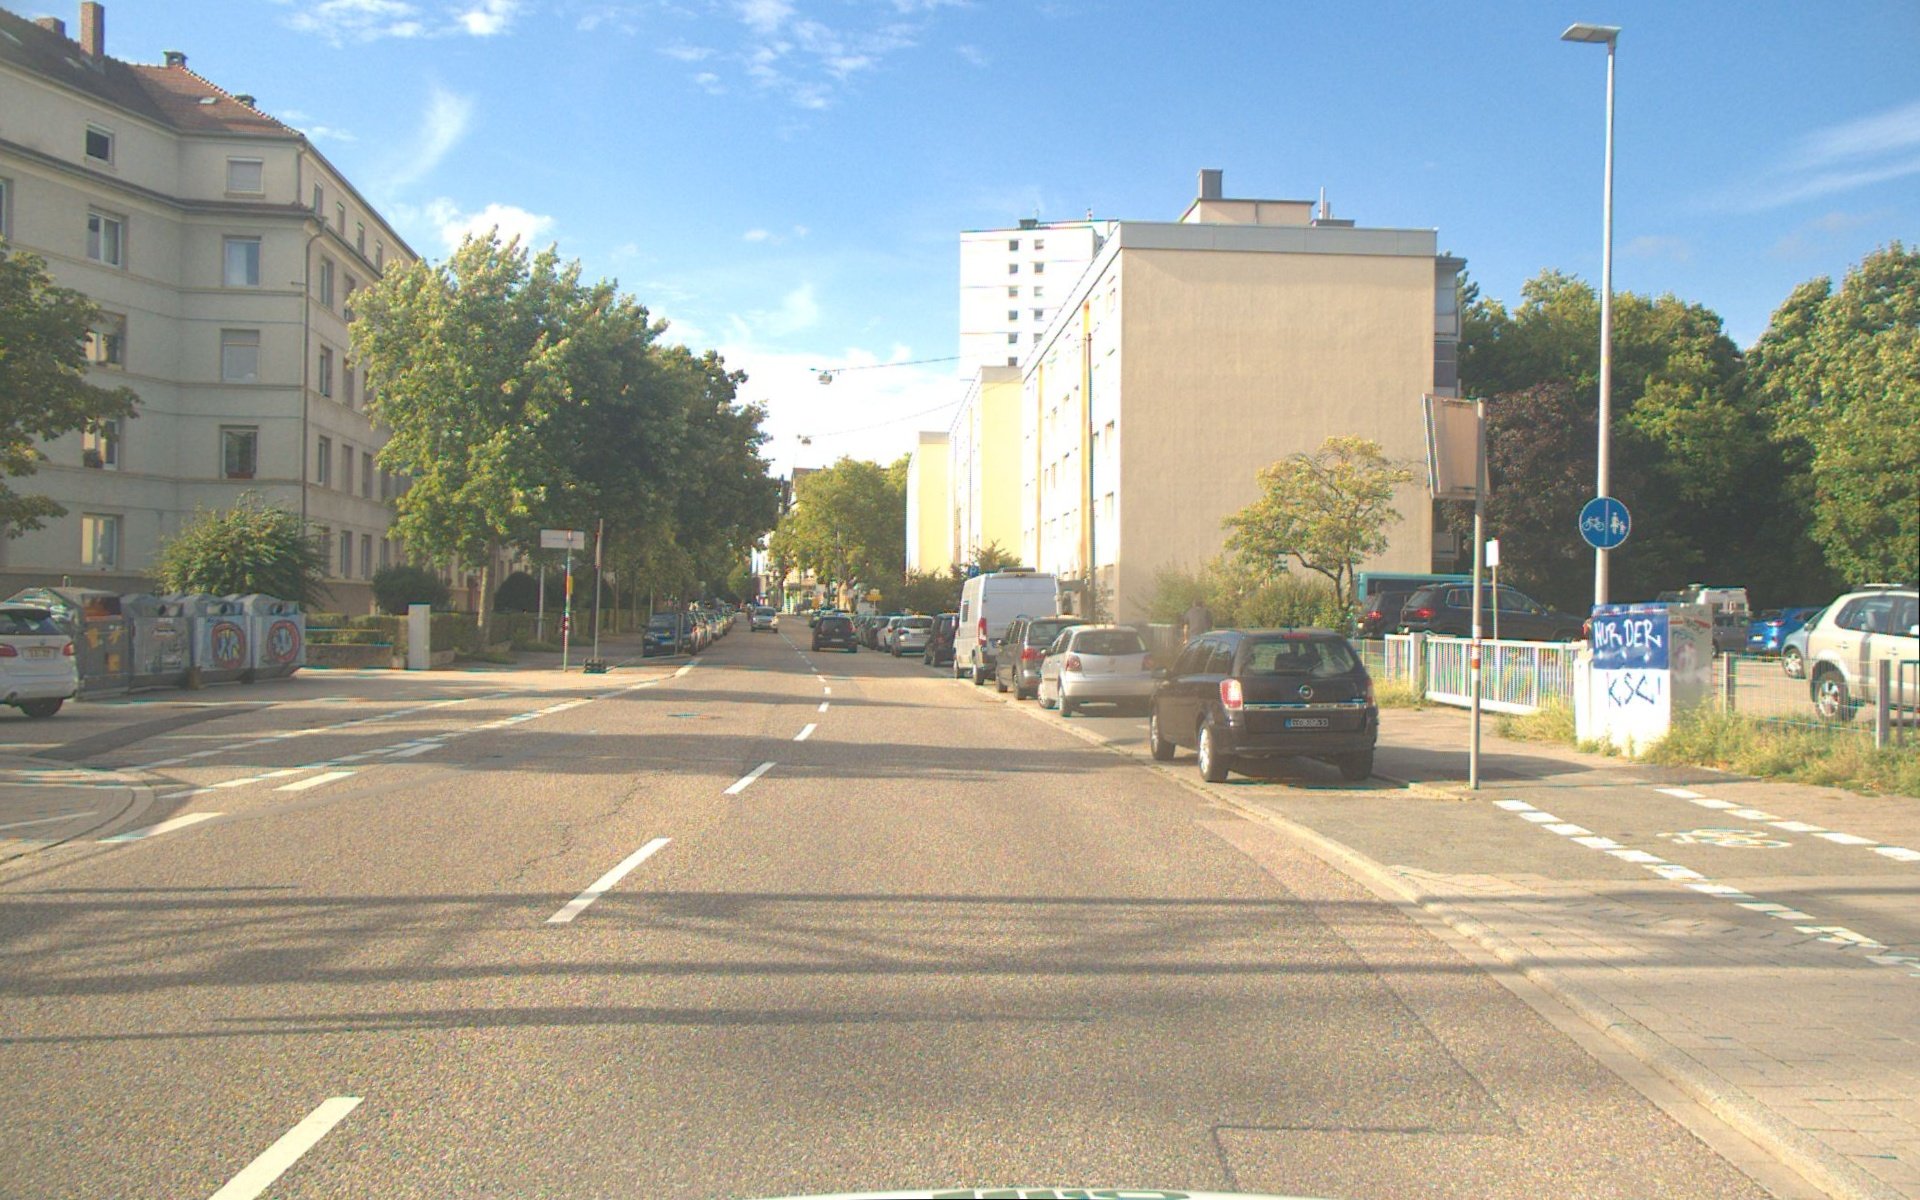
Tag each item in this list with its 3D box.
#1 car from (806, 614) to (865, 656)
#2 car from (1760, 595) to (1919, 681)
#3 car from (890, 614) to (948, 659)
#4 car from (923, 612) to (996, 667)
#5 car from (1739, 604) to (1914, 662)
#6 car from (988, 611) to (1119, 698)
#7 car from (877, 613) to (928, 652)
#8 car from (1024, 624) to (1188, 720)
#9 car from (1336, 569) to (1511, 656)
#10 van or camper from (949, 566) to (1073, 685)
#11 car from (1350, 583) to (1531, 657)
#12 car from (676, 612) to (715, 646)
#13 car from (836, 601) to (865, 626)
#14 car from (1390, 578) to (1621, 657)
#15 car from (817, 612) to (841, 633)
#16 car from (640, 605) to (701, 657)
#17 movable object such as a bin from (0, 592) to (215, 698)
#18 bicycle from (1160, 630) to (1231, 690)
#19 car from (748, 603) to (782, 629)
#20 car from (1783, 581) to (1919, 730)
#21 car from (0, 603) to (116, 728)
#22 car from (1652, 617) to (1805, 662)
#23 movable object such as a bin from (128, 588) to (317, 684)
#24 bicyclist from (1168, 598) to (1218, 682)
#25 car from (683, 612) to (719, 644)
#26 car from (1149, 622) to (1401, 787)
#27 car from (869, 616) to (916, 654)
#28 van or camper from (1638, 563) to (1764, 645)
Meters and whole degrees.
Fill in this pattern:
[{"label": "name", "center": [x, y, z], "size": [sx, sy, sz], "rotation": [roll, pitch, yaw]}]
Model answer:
[{"label": "car", "center": [-5.057, 1.385, 66.725], "size": [1.957, 1.598, 3.990], "rotation": [1, -1, -10]}, {"label": "car", "center": [16.685, 0.654, 30.148], "size": [1.955, 1.467, 3.994], "rotation": [0, 0, -6]}, {"label": "car", "center": [-1.544, 1.317, 61.417], "size": [1.954, 1.601, 3.996], "rotation": [0, 0, -5]}, {"label": "car", "center": [-0.067, 1.186, 50.948], "size": [1.954, 1.601, 3.996], "rotation": [0, 0, -5]}, {"label": "car", "center": [24.379, 0.907, 46.617], "size": [3.909, 1.579, 1.998], "rotation": [0, 0, -5]}, {"label": "car", "center": [1.846, 1.065, 34.089], "size": [1.955, 1.644, 4.401], "rotation": [0, 0, -7]}, {"label": "car", "center": [-2.446, 1.352, 69.330], "size": [1.954, 1.557, 3.996], "rotation": [0, 0, -5]}, {"label": "car", "center": [2.436, 1.186, 28.876], "size": [1.976, 1.501, 4.796], "rotation": [-1, -1, -6]}, {"label": "car", "center": [12.131, 0.329, 43.492], "size": [4.035, 2.224, 2.000], "rotation": [0, -1, -1]}, {"label": "van or camper", "center": [1.129, 0.589, 39.910], "size": [2.168, 2.653, 5.362], "rotation": [0, 0, -8]}, {"label": "car", "center": [11.899, 0.486, 41.157], "size": [3.905, 1.769, 2.000], "rotation": [0, 0, -1]}, {"label": "car", "center": [-11.504, 1.241, 71.867], "size": [1.607, 1.414, 3.425], "rotation": [0, 0, -10]}, {"label": "car", "center": [-7.803, 0.932, 117.515], "size": [1.954, 1.713, 3.996], "rotation": [0, 0, -5]}, {"label": "car", "center": [11.796, 0.369, 35.978], "size": [4.357, 1.650, 2.000], "rotation": [0, 0, 0]}, {"label": "car", "center": [-11.737, 2.025, 148.051], "size": [1.954, 1.786, 3.997], "rotation": [2, -1, -3]}, {"label": "car", "center": [-9.732, 1.018, 55.717], "size": [1.957, 1.668, 3.990], "rotation": [0, 0, -10]}, {"label": "movable object such as a bin", "center": [-14.989, 0.775, 29.089], "size": [3.037, 1.738, 1.549], "rotation": [1, -1, 11]}, {"label": "bicycle", "center": [4.421, 1.104, 31.245], "size": [0.725, 1.053, 2.759], "rotation": [-2, -1, -4]}, {"label": "car", "center": [-13.211, 1.073, 111.906], "size": [2.018, 1.693, 3.917], "rotation": [0, 0, -10]}, {"label": "car", "center": [11.812, 0.629, 19.530], "size": [1.954, 1.695, 4.149], "rotation": [0, 0, -3]}, {"label": "car", "center": [-14.015, 0.810, 22.430], "size": [4.169, 1.582, 2.001], "rotation": [1, -1, 10]}, {"label": "car", "center": [24.166, 1.222, 52.062], "size": [3.910, 1.352, 1.997], "rotation": [0, 0, -6]}, {"label": "movable object such as a bin", "center": [-14.262, 0.678, 32.055], "size": [3.037, 1.737, 1.411], "rotation": [1, 0, 10]}, {"label": "bicyclist", "center": [4.407, 0.753, 31.285], "size": [0.722, 1.540, 0.874], "rotation": [-2, -1, -4]}, {"label": "car", "center": [-13.425, 1.436, 85.723], "size": [1.774, 1.588, 3.425], "rotation": [0, 0, -10]}, {"label": "car", "center": [3.171, 1.008, 17.490], "size": [1.683, 1.522, 4.265], "rotation": [0, -1, -3]}, {"label": "car", "center": [-3.032, 1.548, 73.731], "size": [1.954, 1.601, 3.996], "rotation": [0, 0, -5]}, {"label": "van or camper", "center": [27.639, 0.163, 61.904], "size": [2.282, 2.925, 5.120], "rotation": [-1, 0, -1]}]
